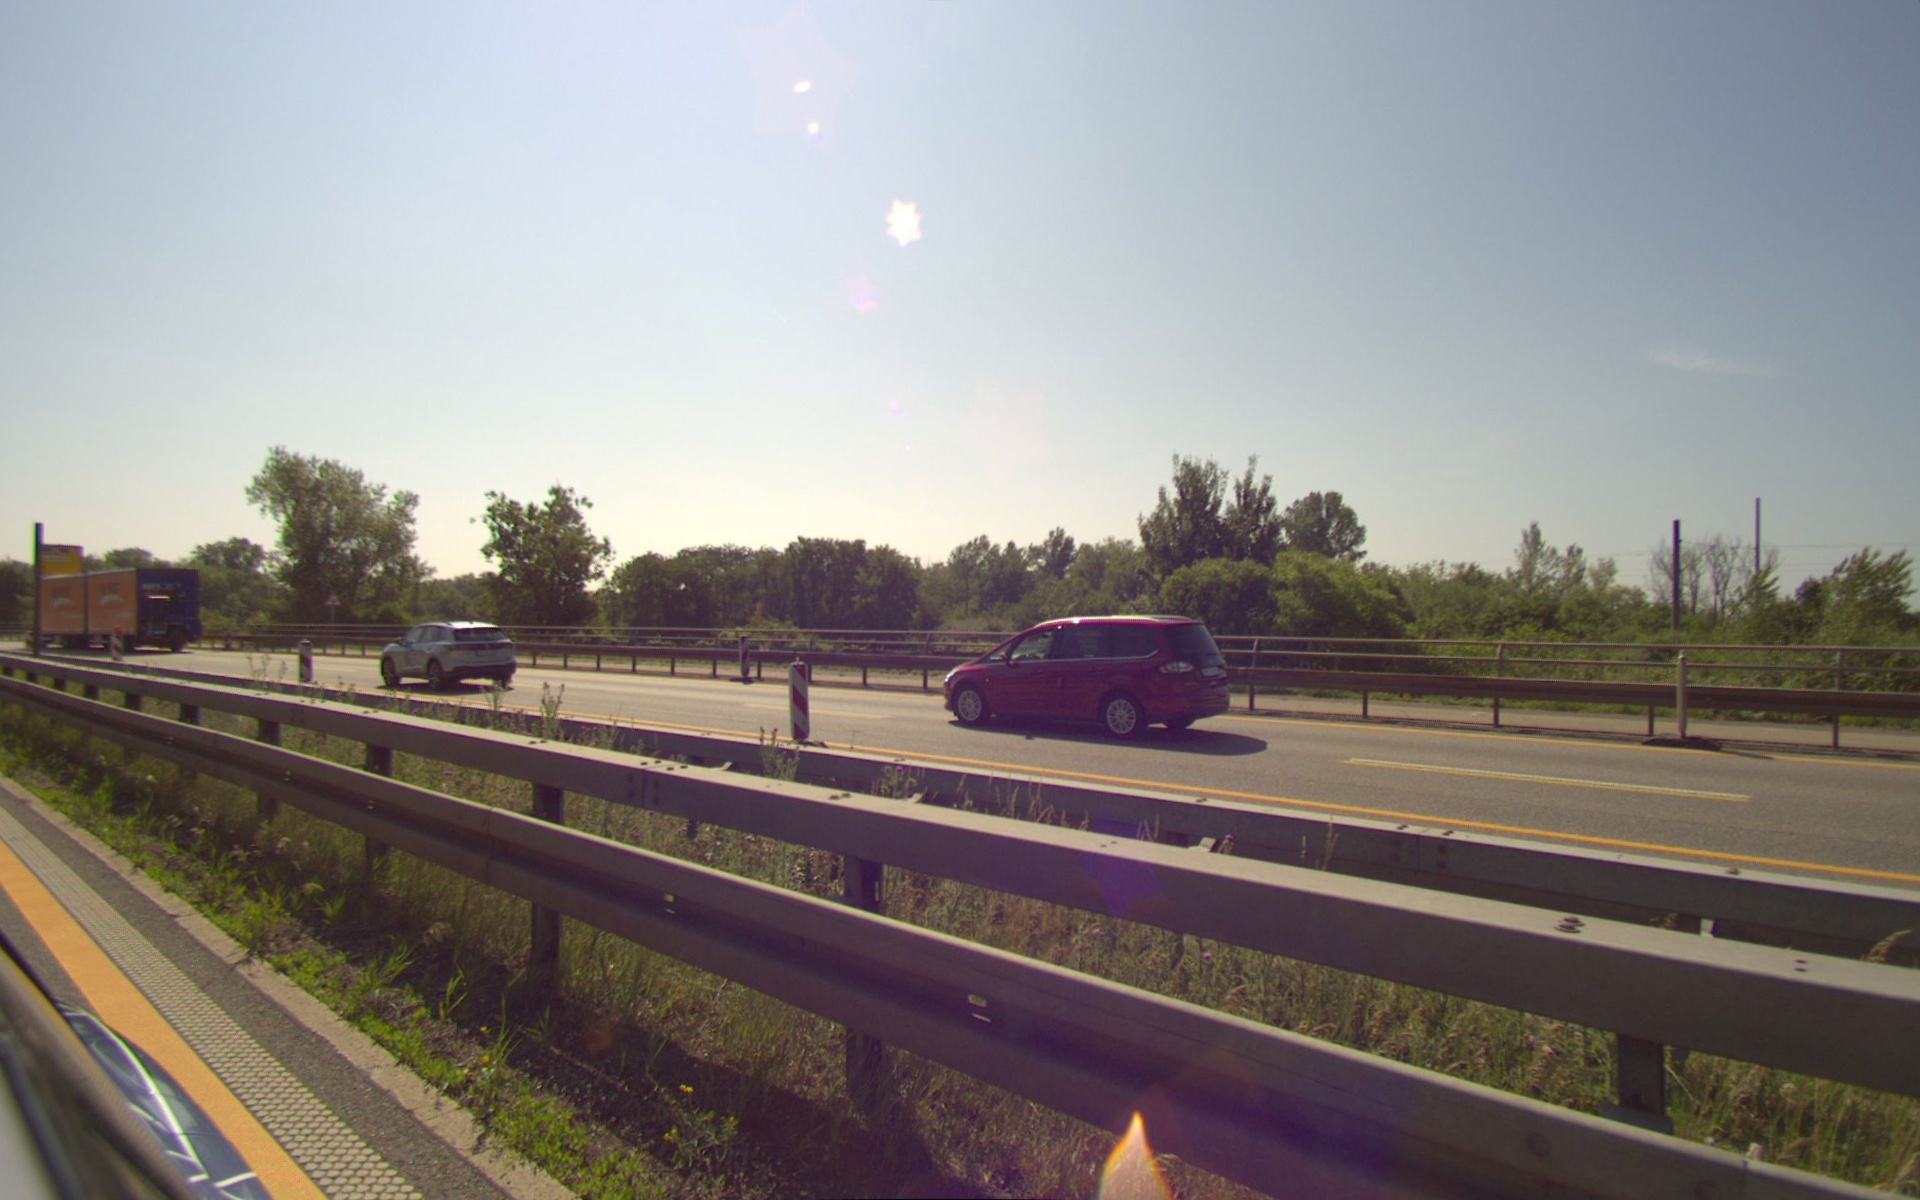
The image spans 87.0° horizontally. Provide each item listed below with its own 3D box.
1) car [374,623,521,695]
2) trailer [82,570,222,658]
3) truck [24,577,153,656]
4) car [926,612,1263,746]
[{"bbox_3d":[-13.050,1.436,25.661,4.375,1.663,1.888,-2,-3,42],"label":"car"},{"bbox_3d":[-41.103,0.736,51.350,9.767,4.122,3.011,-1,-1,36],"label":"trailer"},{"bbox_3d":[-49.393,0.952,57.227,10.599,4.122,3.012,-1,-1,35],"label":"truck"},{"bbox_3d":[1.921,1.095,15.753,5.019,1.748,1.889,-2,-1,42],"label":"car"}]
